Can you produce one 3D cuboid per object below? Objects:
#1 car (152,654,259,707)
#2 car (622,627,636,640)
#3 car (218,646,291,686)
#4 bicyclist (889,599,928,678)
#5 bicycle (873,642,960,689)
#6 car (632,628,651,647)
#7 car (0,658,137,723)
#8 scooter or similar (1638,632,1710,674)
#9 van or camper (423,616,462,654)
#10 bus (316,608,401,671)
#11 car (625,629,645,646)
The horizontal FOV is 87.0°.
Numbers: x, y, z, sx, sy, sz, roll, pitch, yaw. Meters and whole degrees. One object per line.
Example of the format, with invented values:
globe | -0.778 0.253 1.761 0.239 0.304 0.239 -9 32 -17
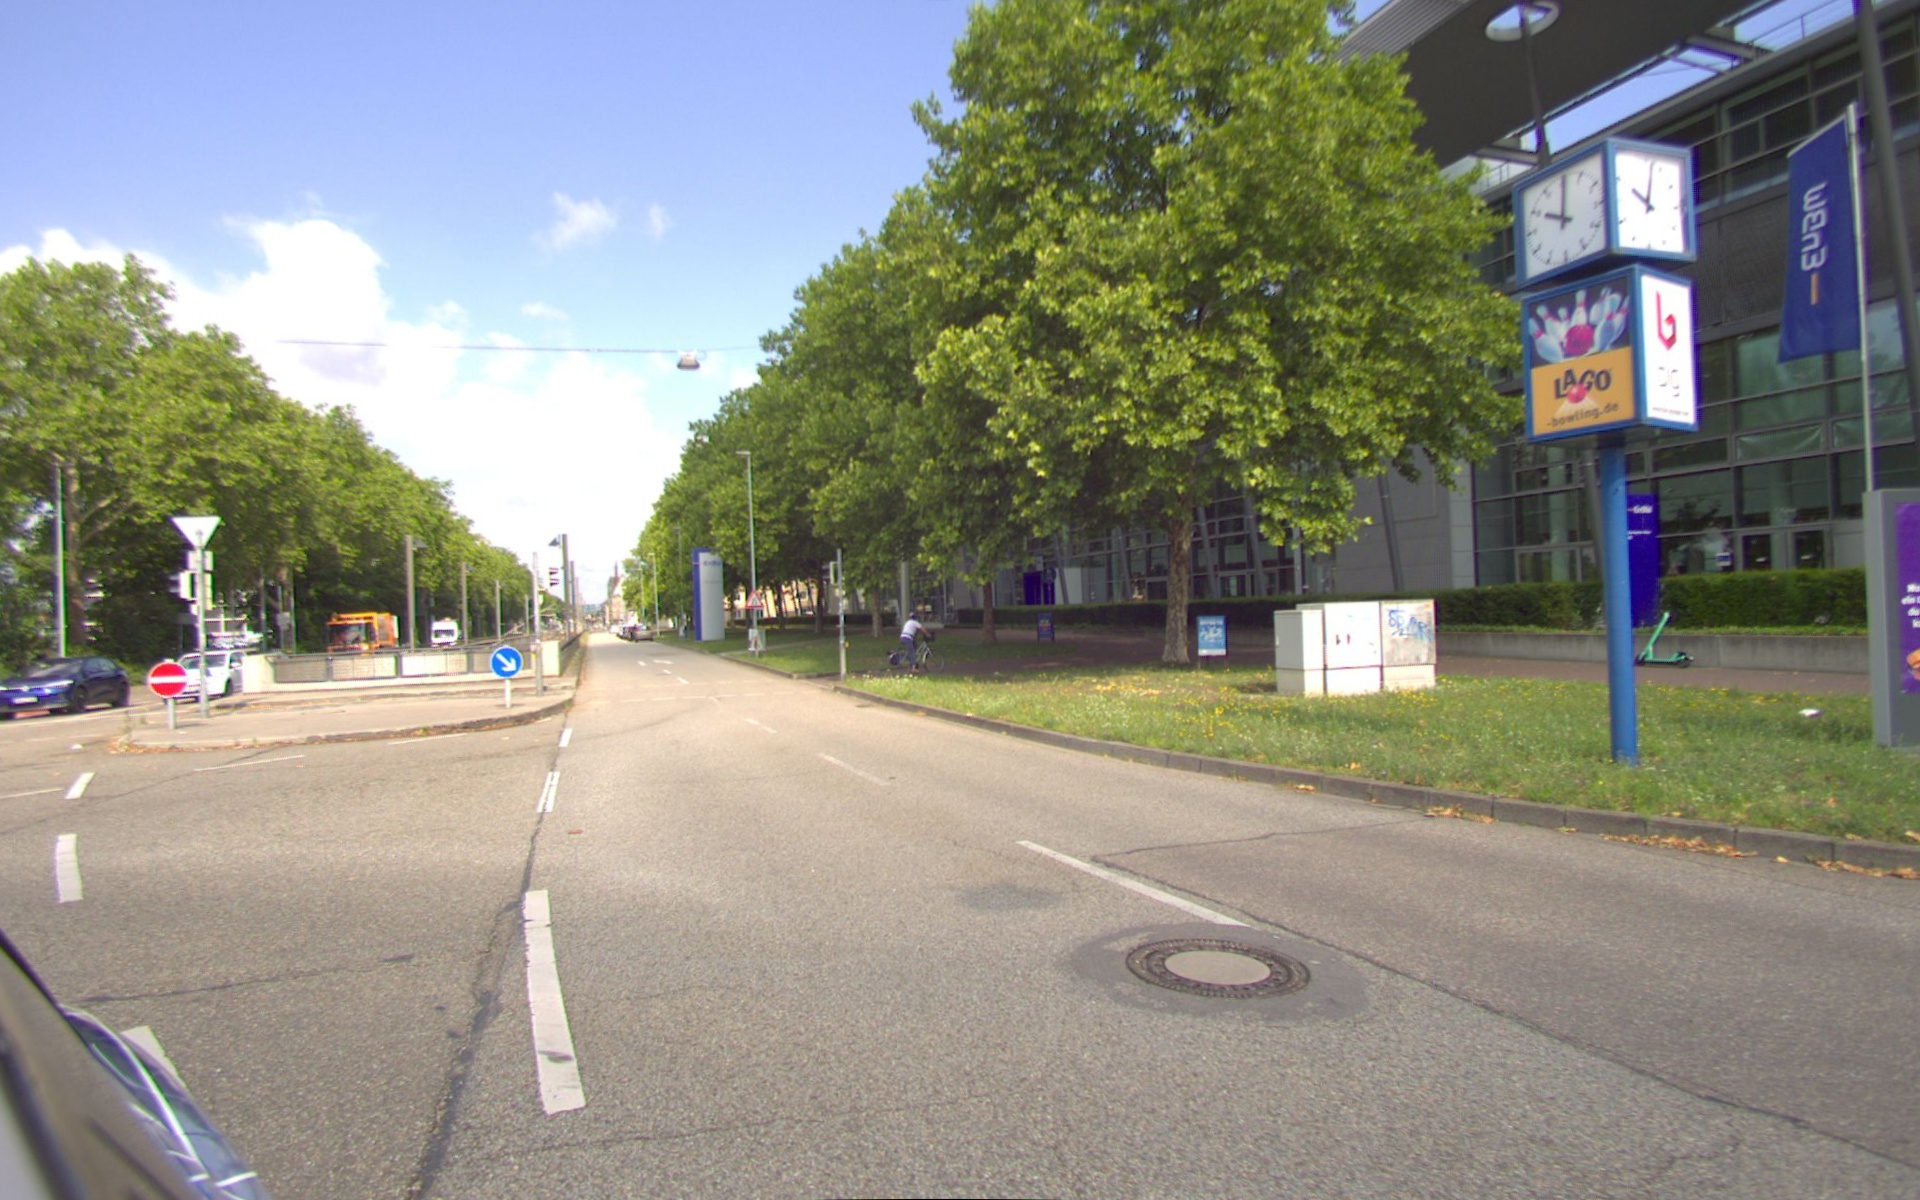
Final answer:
car | -22.897 2.412 30.844 1.708 1.497 3.613 1 -3 -22
car | -35.660 3.611 108.983 1.161 1.252 2.558 5 -1 -21
car | -32.255 2.973 46.375 1.742 1.475 4.013 1 1 -20
bicyclist | -1.379 1.027 27.108 0.718 2.028 0.605 4 1 -27
bicycle | -1.166 1.736 27.274 2.144 1.094 0.889 -1 1 -27
car | -29.144 3.437 92.628 1.397 1.467 3.167 6 -2 -20
car | -25.306 2.477 28.528 1.860 1.587 4.595 0 -2 -20
scooter or similar | 13.762 1.010 19.527 0.237 0.718 1.234 4 -1 -16
van or camper | -43.706 2.936 85.586 2.128 2.806 5.985 5 -1 -21
bus | -39.296 2.450 66.483 2.699 3.491 10.429 4 -1 -20
car | -31.559 3.635 98.335 1.556 1.444 3.167 6 -2 -20
